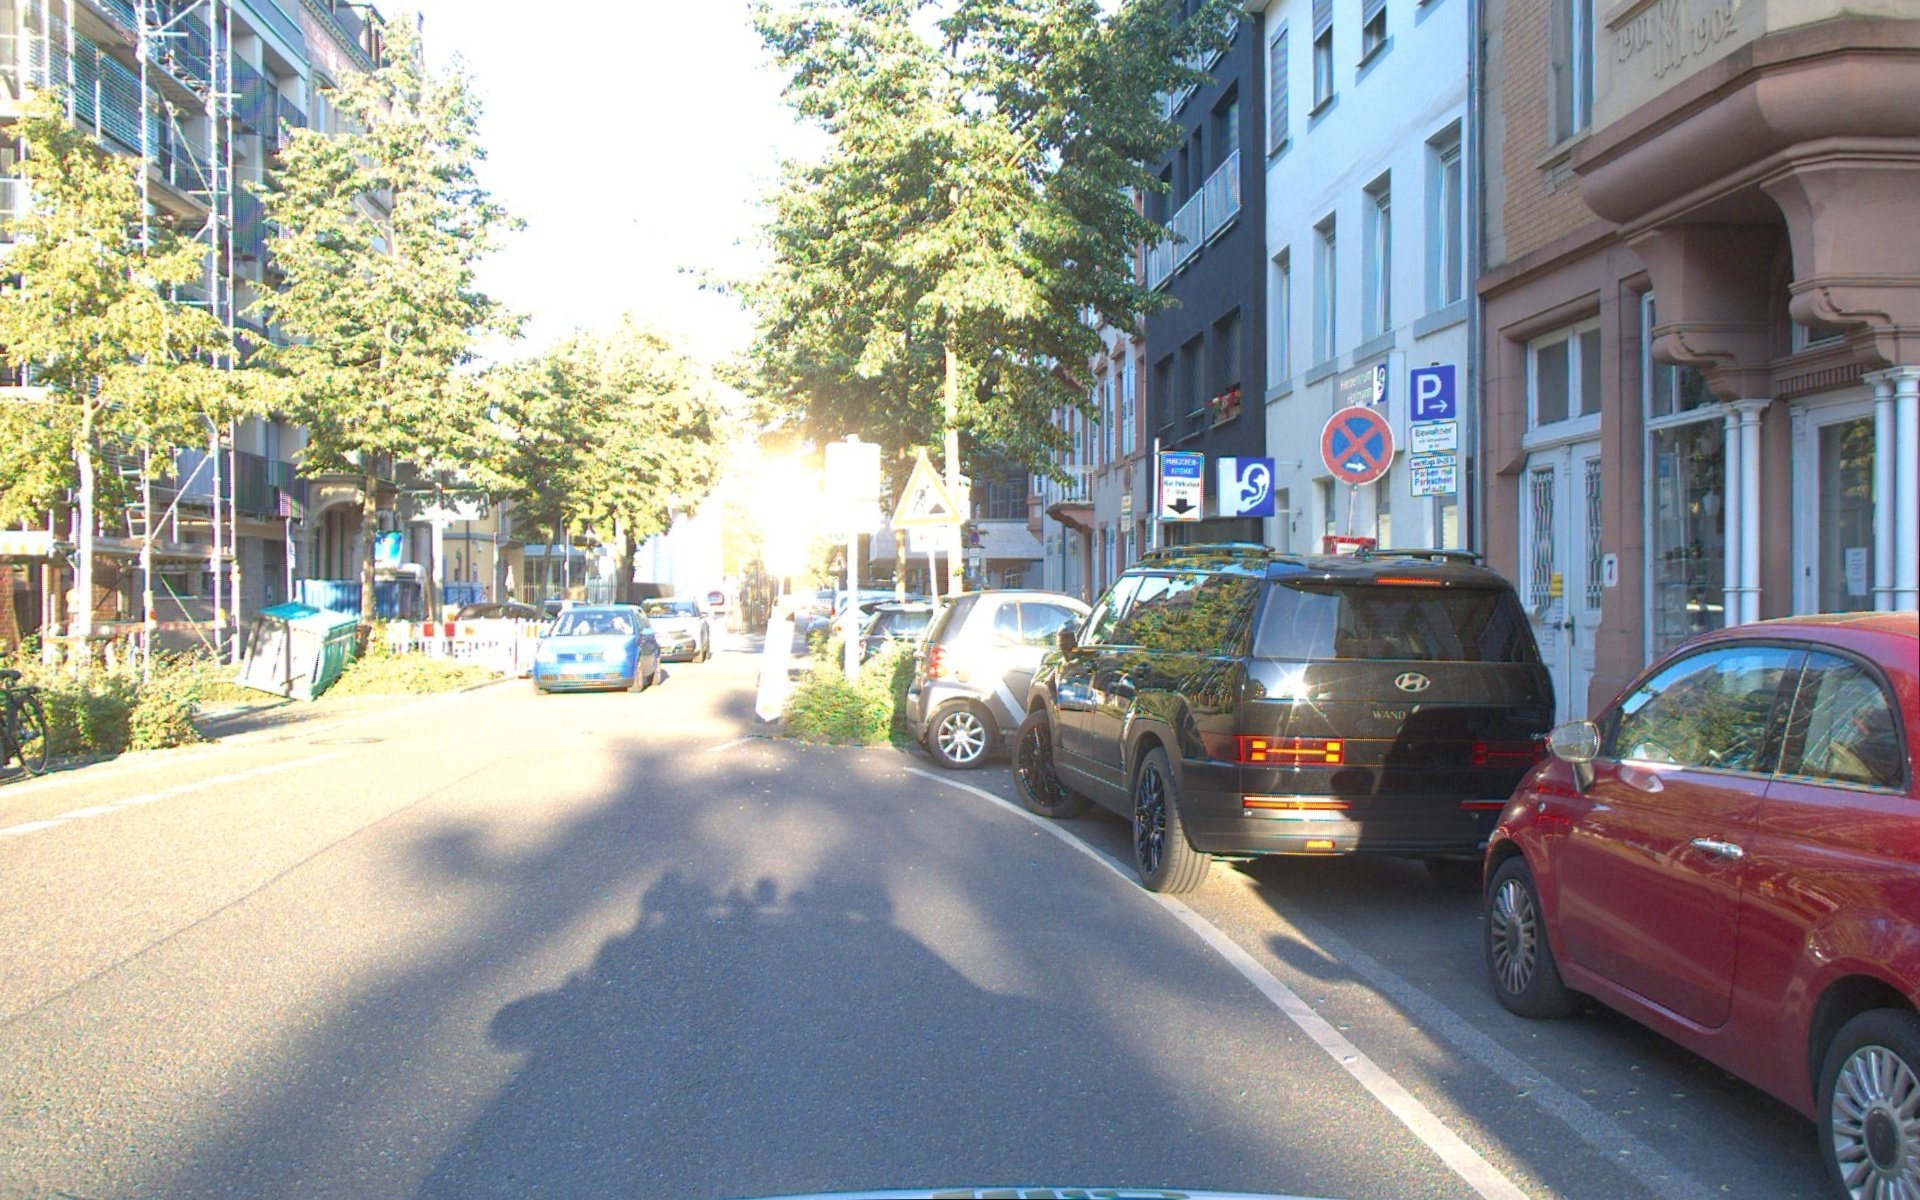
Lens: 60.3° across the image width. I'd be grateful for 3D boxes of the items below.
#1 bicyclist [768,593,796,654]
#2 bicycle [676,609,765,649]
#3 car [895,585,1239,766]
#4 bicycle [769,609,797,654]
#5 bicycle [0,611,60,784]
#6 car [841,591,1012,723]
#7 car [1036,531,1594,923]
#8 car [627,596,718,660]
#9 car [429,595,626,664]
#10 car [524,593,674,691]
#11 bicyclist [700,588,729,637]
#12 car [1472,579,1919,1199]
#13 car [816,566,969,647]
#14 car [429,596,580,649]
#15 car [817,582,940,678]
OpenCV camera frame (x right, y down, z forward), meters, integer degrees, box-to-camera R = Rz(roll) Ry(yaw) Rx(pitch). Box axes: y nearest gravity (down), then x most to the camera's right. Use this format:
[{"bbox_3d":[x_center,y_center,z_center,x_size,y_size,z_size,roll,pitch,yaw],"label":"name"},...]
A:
[{"bbox_3d":[-5.139,0.659,47.717,0.766,1.726,1.005,-1,0,-7],"label":"bicyclist"},{"bbox_3d":[-8.549,1.027,59.026,3.119,1.374,0.845,-1,0,-11],"label":"bicycle"},{"bbox_3d":[0.936,0.675,15.243,2.913,1.563,1.430,1,-1,-9],"label":"car"},{"bbox_3d":[-5.120,0.897,47.720,0.766,1.225,2.017,-1,0,-7],"label":"bicycle"},{"bbox_3d":[-8.074,0.791,13.091,0.830,1.374,3.176,0,0,-13],"label":"bicycle"},{"bbox_3d":[-0.596,0.760,23.844,1.956,1.697,4.501,1,0,-8],"label":"car"},{"bbox_3d":[1.718,0.582,9.587,1.790,1.725,4.361,1,0,-8],"label":"car"},{"bbox_3d":[-7.206,0.673,41.852,1.848,1.506,4.454,1,0,-5],"label":"car"},{"bbox_3d":[-9.837,0.666,37.856,4.021,1.491,1.888,1,0,-3],"label":"car"},{"bbox_3d":[-5.987,0.715,27.854,1.802,1.466,4.328,-2,-2,-4],"label":"car"},{"bbox_3d":[-8.739,0.454,58.954,0.985,1.726,0.781,-1,0,-10],"label":"bicyclist"},{"bbox_3d":[2.885,0.725,4.943,1.555,1.509,3.264,1,0,-3],"label":"car"},{"bbox_3d":[-1.732,0.158,43.387,3.906,2.049,2.000,0,0,-1],"label":"car"},{"bbox_3d":[-13.627,0.670,49.617,4.021,1.491,1.888,1,0,-3],"label":"car"},{"bbox_3d":[-1.909,0.646,37.099,2.223,1.796,4.501,6,-1,-8],"label":"car"}]
